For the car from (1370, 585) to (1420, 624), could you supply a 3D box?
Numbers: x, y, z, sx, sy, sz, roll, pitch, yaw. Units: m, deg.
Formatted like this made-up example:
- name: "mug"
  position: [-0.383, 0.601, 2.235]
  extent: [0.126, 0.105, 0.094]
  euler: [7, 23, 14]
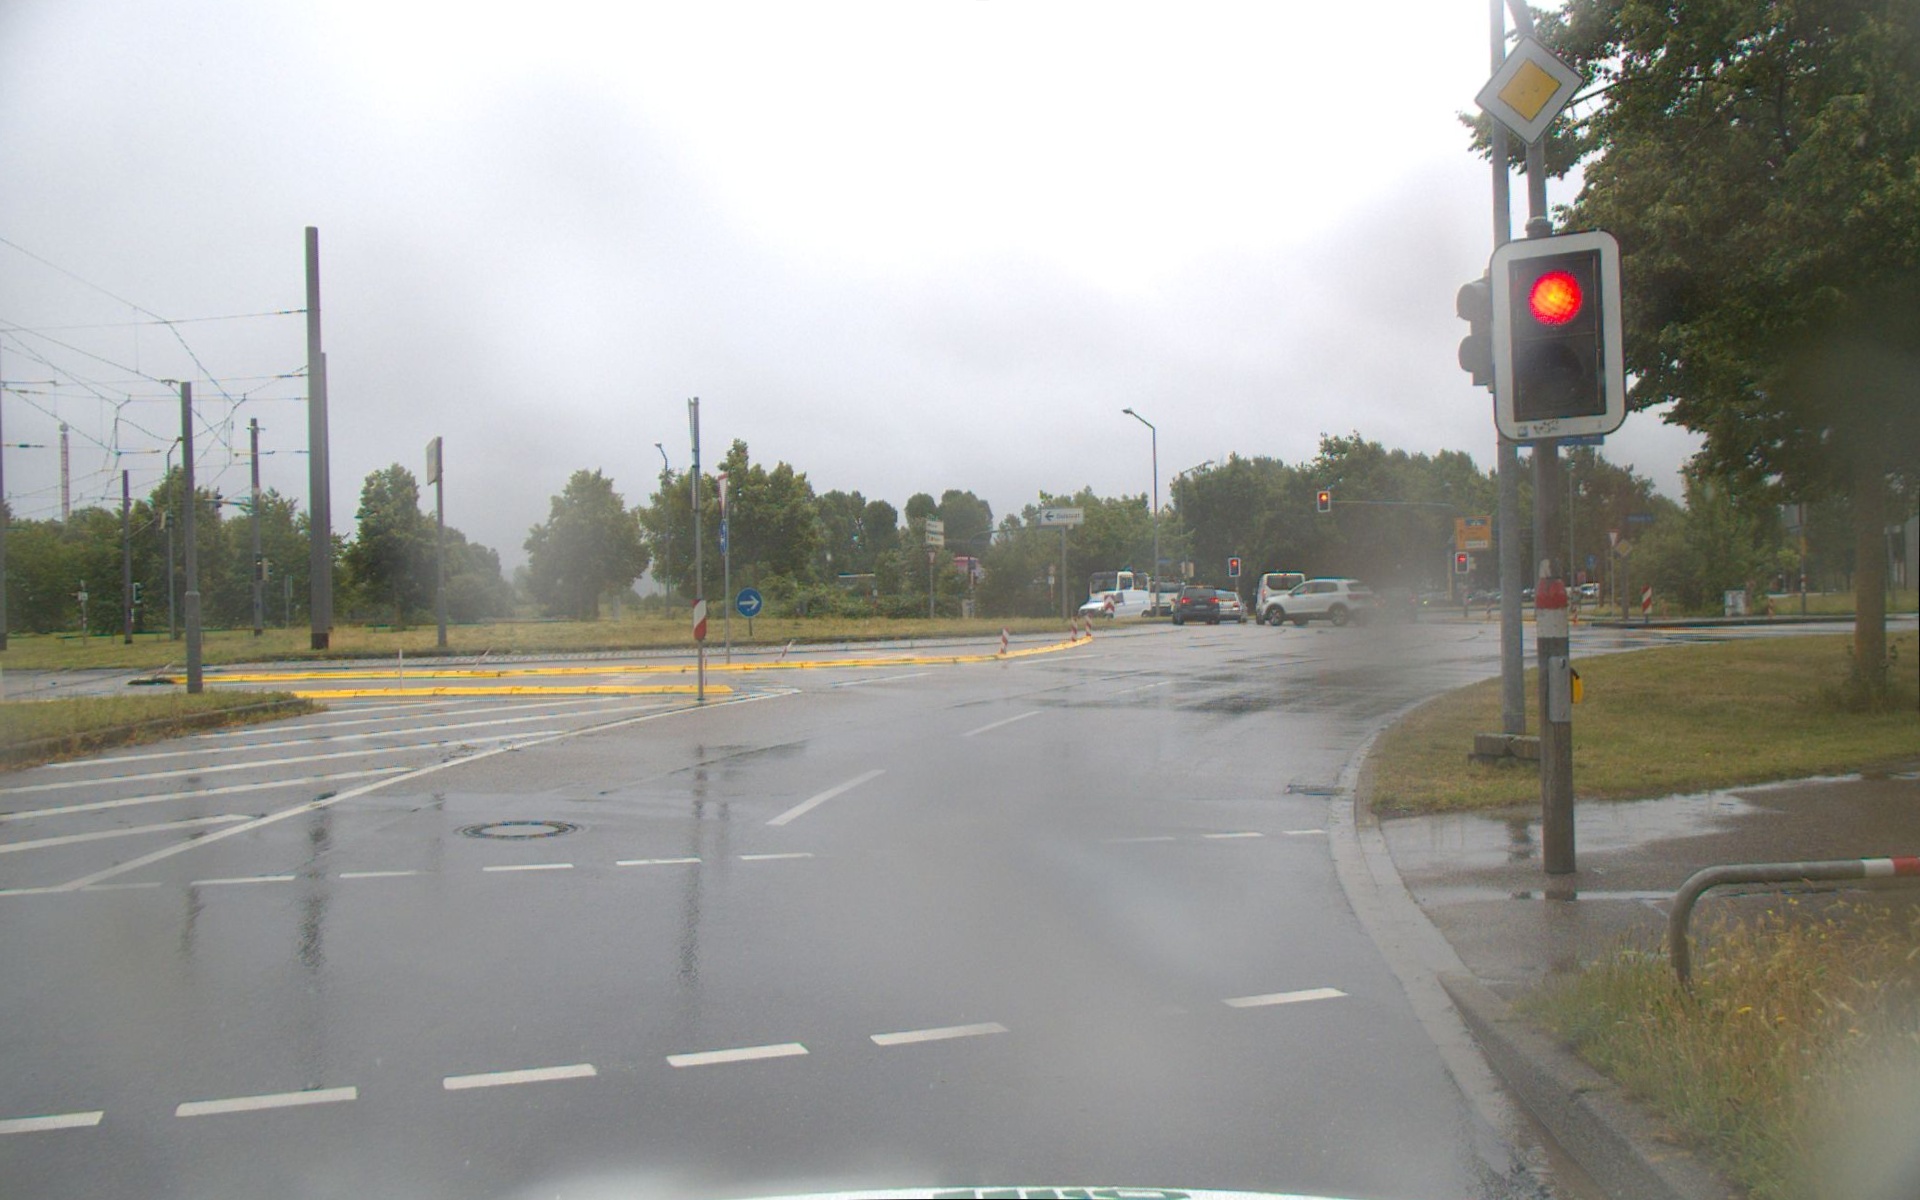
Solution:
- name: "car"
  position: [17.995, 0.169, 68.532]
  extent: [1.652, 1.518, 3.254]
  euler: [-1, 0, 9]

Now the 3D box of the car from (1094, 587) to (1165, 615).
- name: "car"
  position: [9.649, 0.080, 93.991]
  extent: [1.584, 1.518, 4.518]
  euler: [1, 0, 44]

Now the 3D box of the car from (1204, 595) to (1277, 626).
- name: "car"
  position: [12.887, 0.485, 75.960]
  extent: [3.085, 1.396, 1.379]
  euler: [1, 0, -27]

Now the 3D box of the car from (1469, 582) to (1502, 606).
- name: "car"
  position: [45.977, -0.524, 144.668]
  extent: [1.758, 2.049, 3.659]
  euler: [1, 0, 36]

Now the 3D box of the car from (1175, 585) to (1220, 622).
- name: "car"
  position: [10.125, 0.144, 70.732]
  extent: [1.653, 1.518, 3.253]
  euler: [1, 0, 4]

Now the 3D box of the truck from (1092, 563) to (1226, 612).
- name: "truck"
  position: [12.064, -0.711, 99.974]
  extent: [8.680, 2.759, 1.979]
  euler: [1, -1, -31]

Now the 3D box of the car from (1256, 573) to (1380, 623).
- name: "car"
  position: [12.418, -0.077, 57.455]
  extent: [3.875, 1.676, 1.677]
  euler: [1, 0, 41]

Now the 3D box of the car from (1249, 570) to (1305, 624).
- name: "car"
  position: [12.836, -0.102, 67.104]
  extent: [1.746, 2.072, 4.002]
  euler: [1, 0, 4]
